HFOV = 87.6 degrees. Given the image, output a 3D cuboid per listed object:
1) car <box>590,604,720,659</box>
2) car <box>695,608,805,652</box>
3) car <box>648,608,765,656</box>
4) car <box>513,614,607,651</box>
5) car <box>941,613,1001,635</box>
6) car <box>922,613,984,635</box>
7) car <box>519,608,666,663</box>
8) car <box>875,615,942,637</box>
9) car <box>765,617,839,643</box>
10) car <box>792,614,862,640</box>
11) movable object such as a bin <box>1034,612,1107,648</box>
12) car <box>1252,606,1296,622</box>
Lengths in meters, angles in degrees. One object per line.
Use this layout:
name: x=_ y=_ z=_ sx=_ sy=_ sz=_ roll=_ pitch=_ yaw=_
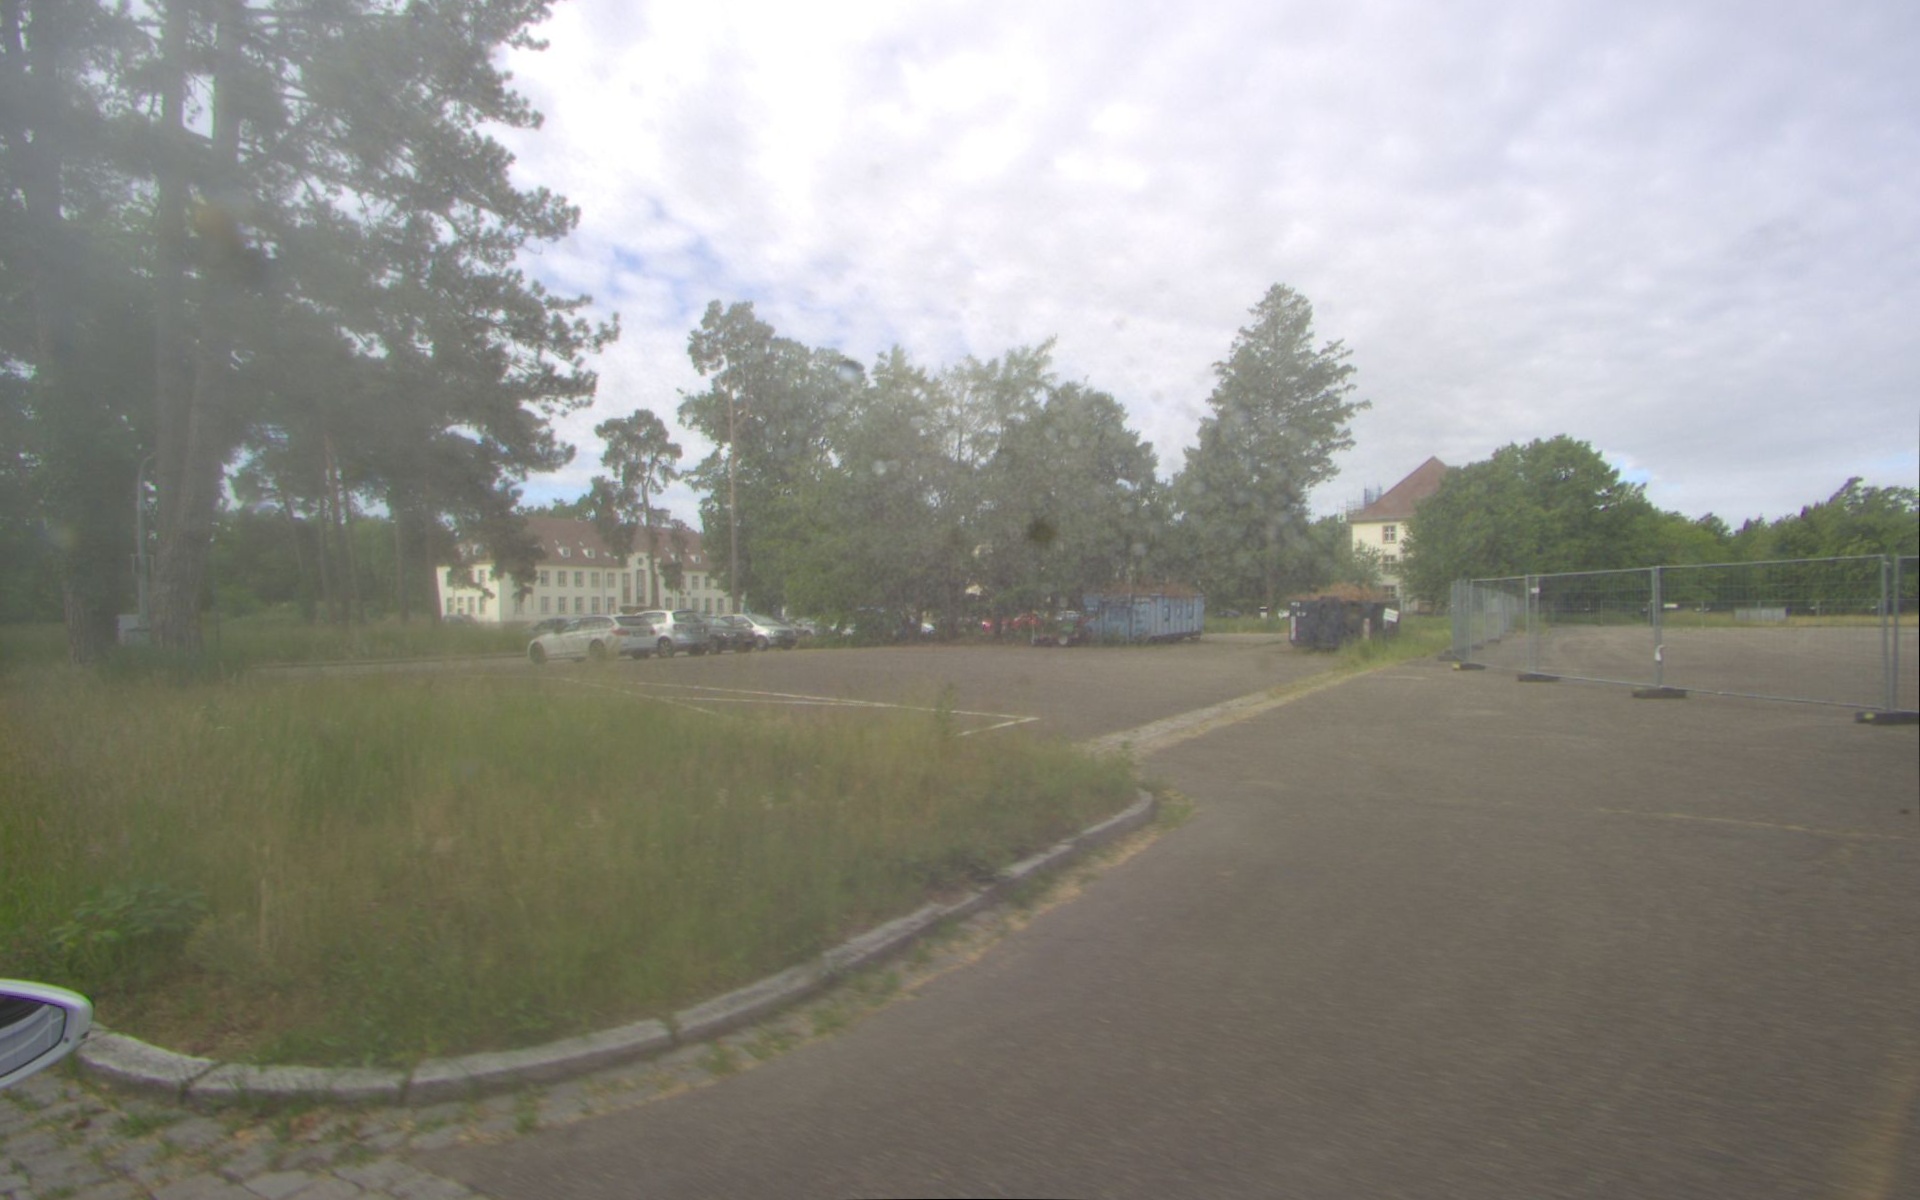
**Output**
car: x=-10.299 y=1.071 z=33.790 sx=4.181 sy=1.626 sz=1.780 roll=-4 pitch=-2 yaw=29
car: x=-8.162 y=1.170 z=38.785 sx=4.186 sy=1.504 sz=1.697 roll=-4 pitch=-2 yaw=33
car: x=-9.181 y=1.163 z=36.191 sx=4.186 sy=1.504 sz=1.697 roll=-4 pitch=-2 yaw=33
car: x=-17.431 y=1.377 z=43.566 sx=4.184 sy=1.528 sz=1.730 roll=0 pitch=-1 yaw=33
car: x=0.789 y=1.735 z=73.725 sx=4.183 sy=1.541 sz=1.730 roll=0 pitch=-1 yaw=33
car: x=-0.493 y=1.705 z=71.229 sx=4.183 sy=1.541 sz=1.730 roll=0 pitch=-1 yaw=33
car: x=-11.578 y=1.130 z=31.474 sx=4.542 sy=1.505 sz=1.847 roll=-4 pitch=-3 yaw=29
car: x=-3.399 y=1.698 z=65.776 sx=4.184 sy=1.408 sz=1.730 roll=0 pitch=-1 yaw=34
car: x=-8.957 y=1.662 z=56.542 sx=4.190 sy=1.408 sz=1.728 roll=-1 pitch=-1 yaw=38
car: x=-7.903 y=1.569 z=59.280 sx=4.190 sy=1.521 sz=1.610 roll=-1 pitch=-1 yaw=38
movable object such as a bin: x=3.614 y=0.982 z=32.765 sx=2.176 sy=1.149 sz=0.960 roll=-1 pitch=-2 yaw=23
car: x=41.375 y=1.895 z=132.035 sx=5.223 sy=1.979 sz=2.080 roll=-1 pitch=-2 yaw=33
